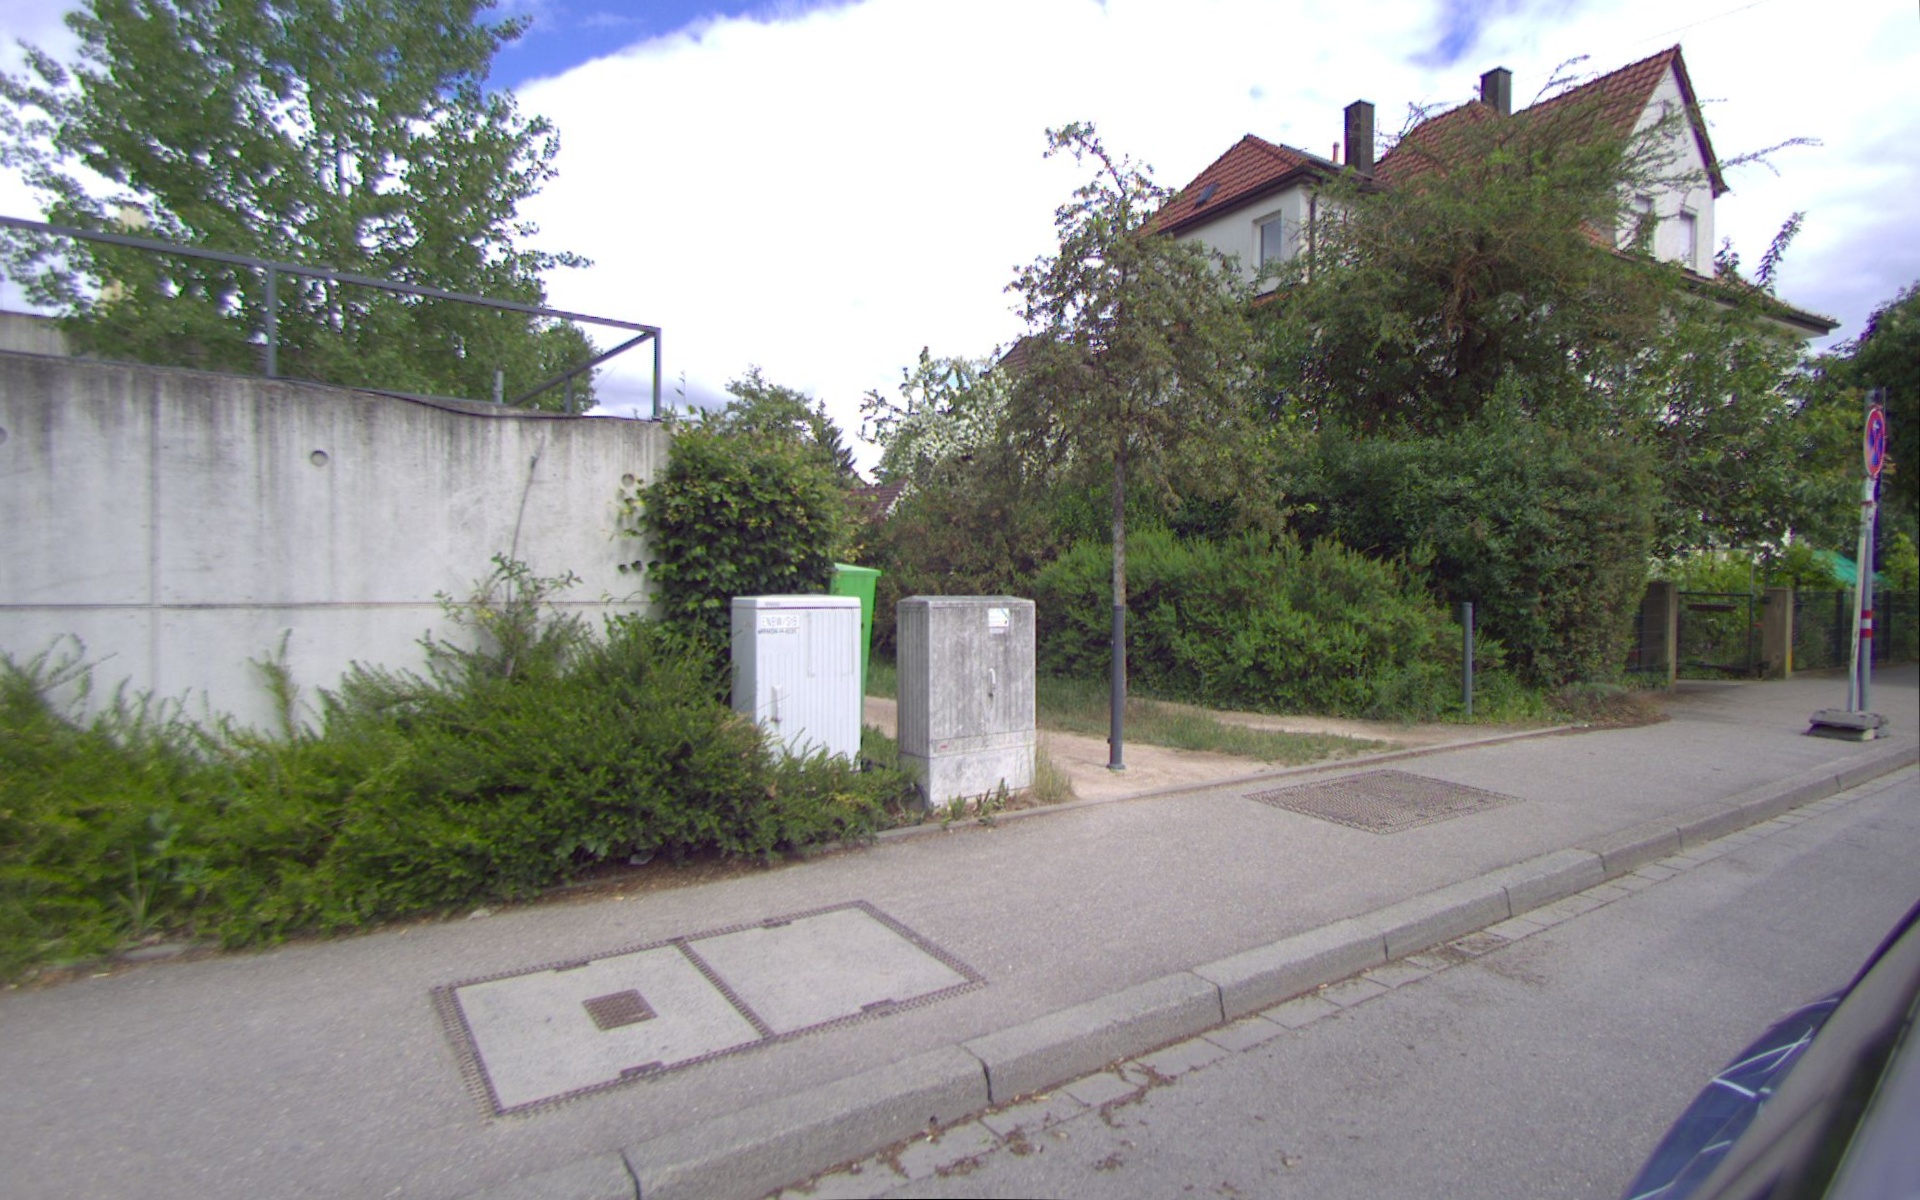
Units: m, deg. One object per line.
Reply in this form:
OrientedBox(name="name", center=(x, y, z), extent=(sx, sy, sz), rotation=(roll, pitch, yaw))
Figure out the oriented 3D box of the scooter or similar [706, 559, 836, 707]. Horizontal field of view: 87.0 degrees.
OrientedBox(name="scooter or similar", center=(-1.887, 0.283, 9.982), extent=(0.807, 1.341, 1.399), rotation=(1, 1, -31))
